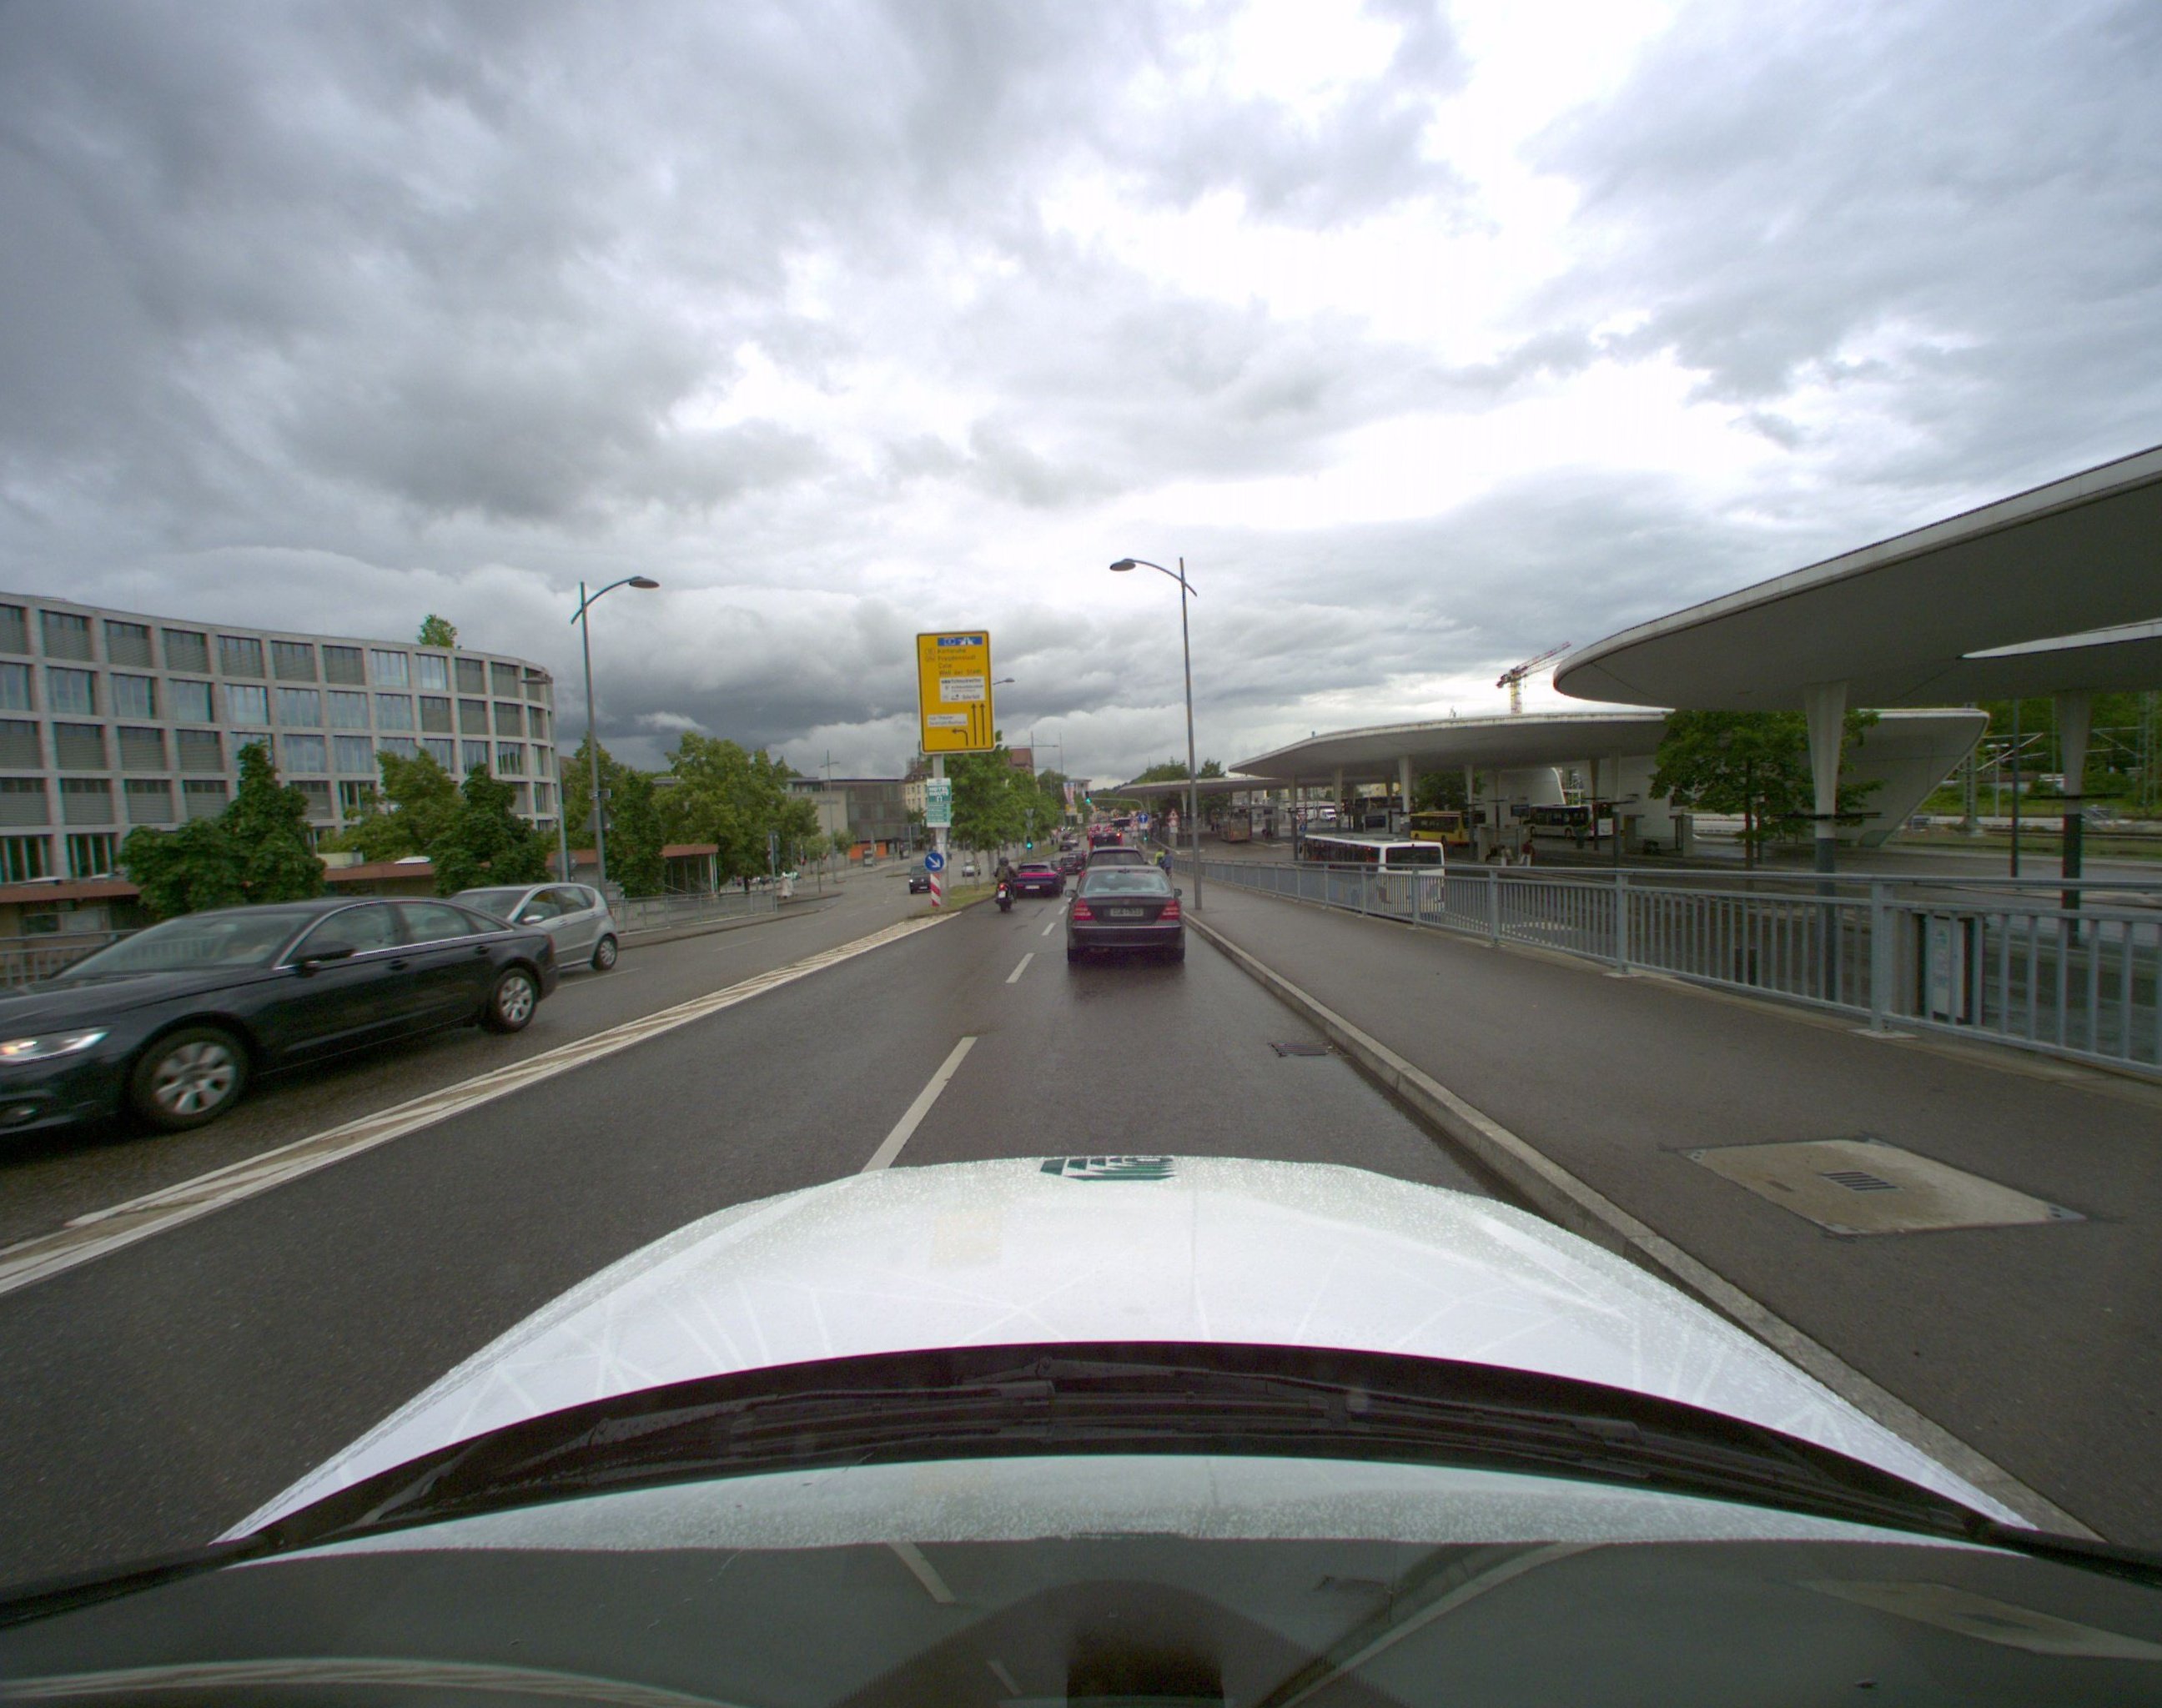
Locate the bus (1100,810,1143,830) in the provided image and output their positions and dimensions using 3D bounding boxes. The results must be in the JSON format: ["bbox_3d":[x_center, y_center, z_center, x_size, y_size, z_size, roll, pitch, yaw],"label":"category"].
[{"bbox_3d":[8.888,-7.531,181.451,3.282,4.006,10.773,-6,5,-36],"label":"bus"}]

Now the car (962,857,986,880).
[{"bbox_3d":[-10.390,1.407,79.203,1.990,2.014,4.194,-3,-1,-5],"label":"car"}]

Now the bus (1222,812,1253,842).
[{"bbox_3d":[20.622,-3.462,108.062,3.162,3.600,10.530,-3,0,7],"label":"bus"}]

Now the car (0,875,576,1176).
[{"bbox_3d":[-6.482,1.024,6.678,1.828,1.526,4.591,-3,0,-1],"label":"car"}]

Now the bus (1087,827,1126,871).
[{"bbox_3d":[2.034,-0.384,65.474,2.817,3.189,10.312,-1,0,2],"label":"bus"}]

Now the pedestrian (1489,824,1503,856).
[{"bbox_3d":[26.321,-0.889,51.677,0.541,2.013,0.580,-3,0,2],"label":"pedestrian"}]

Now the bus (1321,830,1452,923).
[{"bbox_3d":[12.681,0.762,34.536,2.639,3.235,7.069,-3,3,-1],"label":"bus"}]

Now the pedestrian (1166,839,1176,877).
[{"bbox_3d":[4.792,0.210,43.537,0.422,2.014,0.484,-3,-2,4],"label":"pedestrian"}]

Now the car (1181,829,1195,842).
[{"bbox_3d":[17.126,-2.955,130.177,1.983,2.013,4.009,-3,1,7],"label":"car"}]

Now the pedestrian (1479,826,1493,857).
[{"bbox_3d":[26.436,-0.813,53.126,0.541,2.013,0.580,-3,0,2],"label":"pedestrian"}]

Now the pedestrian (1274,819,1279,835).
[{"bbox_3d":[25.111,-3.460,104.779,0.422,2.014,0.484,-3,-2,4],"label":"pedestrian"}]

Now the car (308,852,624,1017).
[{"bbox_3d":[-9.091,1.048,12.575,1.991,2.013,3.992,-3,0,-6],"label":"car"}]

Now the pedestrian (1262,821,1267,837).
[{"bbox_3d":[22.602,-3.074,100.336,0.422,2.013,0.484,-3,0,4],"label":"pedestrian"}]

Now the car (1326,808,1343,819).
[{"bbox_3d":[47.526,-7.555,152.929,1.986,2.013,4.002,-3,2,1],"label":"car"}]

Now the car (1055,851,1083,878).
[{"bbox_3d":[-0.934,0.770,64.631,1.986,2.006,4.001,-1,0,1],"label":"car"}]

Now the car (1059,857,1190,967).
[{"bbox_3d":[0.724,0.781,12.653,1.698,1.419,3.730,-1,0,5],"label":"car"}]

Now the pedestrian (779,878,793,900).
[{"bbox_3d":[-20.274,2.414,56.004,0.645,1.408,0.531,-3,2,4],"label":"pedestrian"}]

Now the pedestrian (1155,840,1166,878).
[{"bbox_3d":[4.238,0.258,43.499,0.487,2.014,0.470,-3,-2,3],"label":"pedestrian"}]

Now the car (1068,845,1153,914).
[{"bbox_3d":[0.905,0.612,22.123,1.816,1.687,4.010,-1,0,8],"label":"car"}]

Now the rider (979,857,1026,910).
[{"bbox_3d":[-2.295,0.829,24.033,0.876,1.472,2.201,-1,0,8],"label":"rider"}]

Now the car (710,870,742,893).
[{"bbox_3d":[-34.081,2.600,78.090,2.008,2.013,3.958,2,1,-35],"label":"car"}]

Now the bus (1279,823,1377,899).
[{"bbox_3d":[12.433,0.191,41.652,2.639,3.235,7.069,-3,4,-1],"label":"bus"}]

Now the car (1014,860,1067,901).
[{"bbox_3d":[-1.546,0.994,32.469,1.753,1.436,4.002,-1,1,2],"label":"car"}]

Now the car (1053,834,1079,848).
[{"bbox_3d":[-2.454,-2.169,132.014,3.967,2.013,2.004,-3,1,6],"label":"car"}]

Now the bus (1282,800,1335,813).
[{"bbox_3d":[46.093,-9.674,165.335,10.140,2.013,2.169,-3,1,-2],"label":"bus"}]

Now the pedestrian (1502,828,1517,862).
[{"bbox_3d":[25.976,-0.522,49.351,0.558,2.013,0.484,-3,0,3],"label":"pedestrian"}]

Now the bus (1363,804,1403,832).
[{"bbox_3d":[37.091,-4.449,100.214,2.589,3.209,7.002,-3,2,4],"label":"bus"}]

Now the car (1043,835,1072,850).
[{"bbox_3d":[-3.517,-1.712,120.643,3.967,2.013,2.004,-3,1,6],"label":"car"}]

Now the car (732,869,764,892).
[{"bbox_3d":[-32.466,2.604,79.366,2.008,2.013,3.958,2,1,-35],"label":"car"}]

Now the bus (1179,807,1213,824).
[{"bbox_3d":[26.274,-8.862,186.886,7.180,3.396,3.080,-3,2,-2],"label":"bus"}]

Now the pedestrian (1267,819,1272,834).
[{"bbox_3d":[25.040,-3.622,108.230,0.422,2.013,0.484,-3,0,4],"label":"pedestrian"}]

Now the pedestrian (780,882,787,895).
[{"bbox_3d":[-20.436,2.349,55.931,0.299,0.873,0.299,-3,2,4],"label":"pedestrian"}]

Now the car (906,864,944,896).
[{"bbox_3d":[-10.630,1.763,55.685,1.990,2.014,4.194,-3,-1,-5],"label":"car"}]
